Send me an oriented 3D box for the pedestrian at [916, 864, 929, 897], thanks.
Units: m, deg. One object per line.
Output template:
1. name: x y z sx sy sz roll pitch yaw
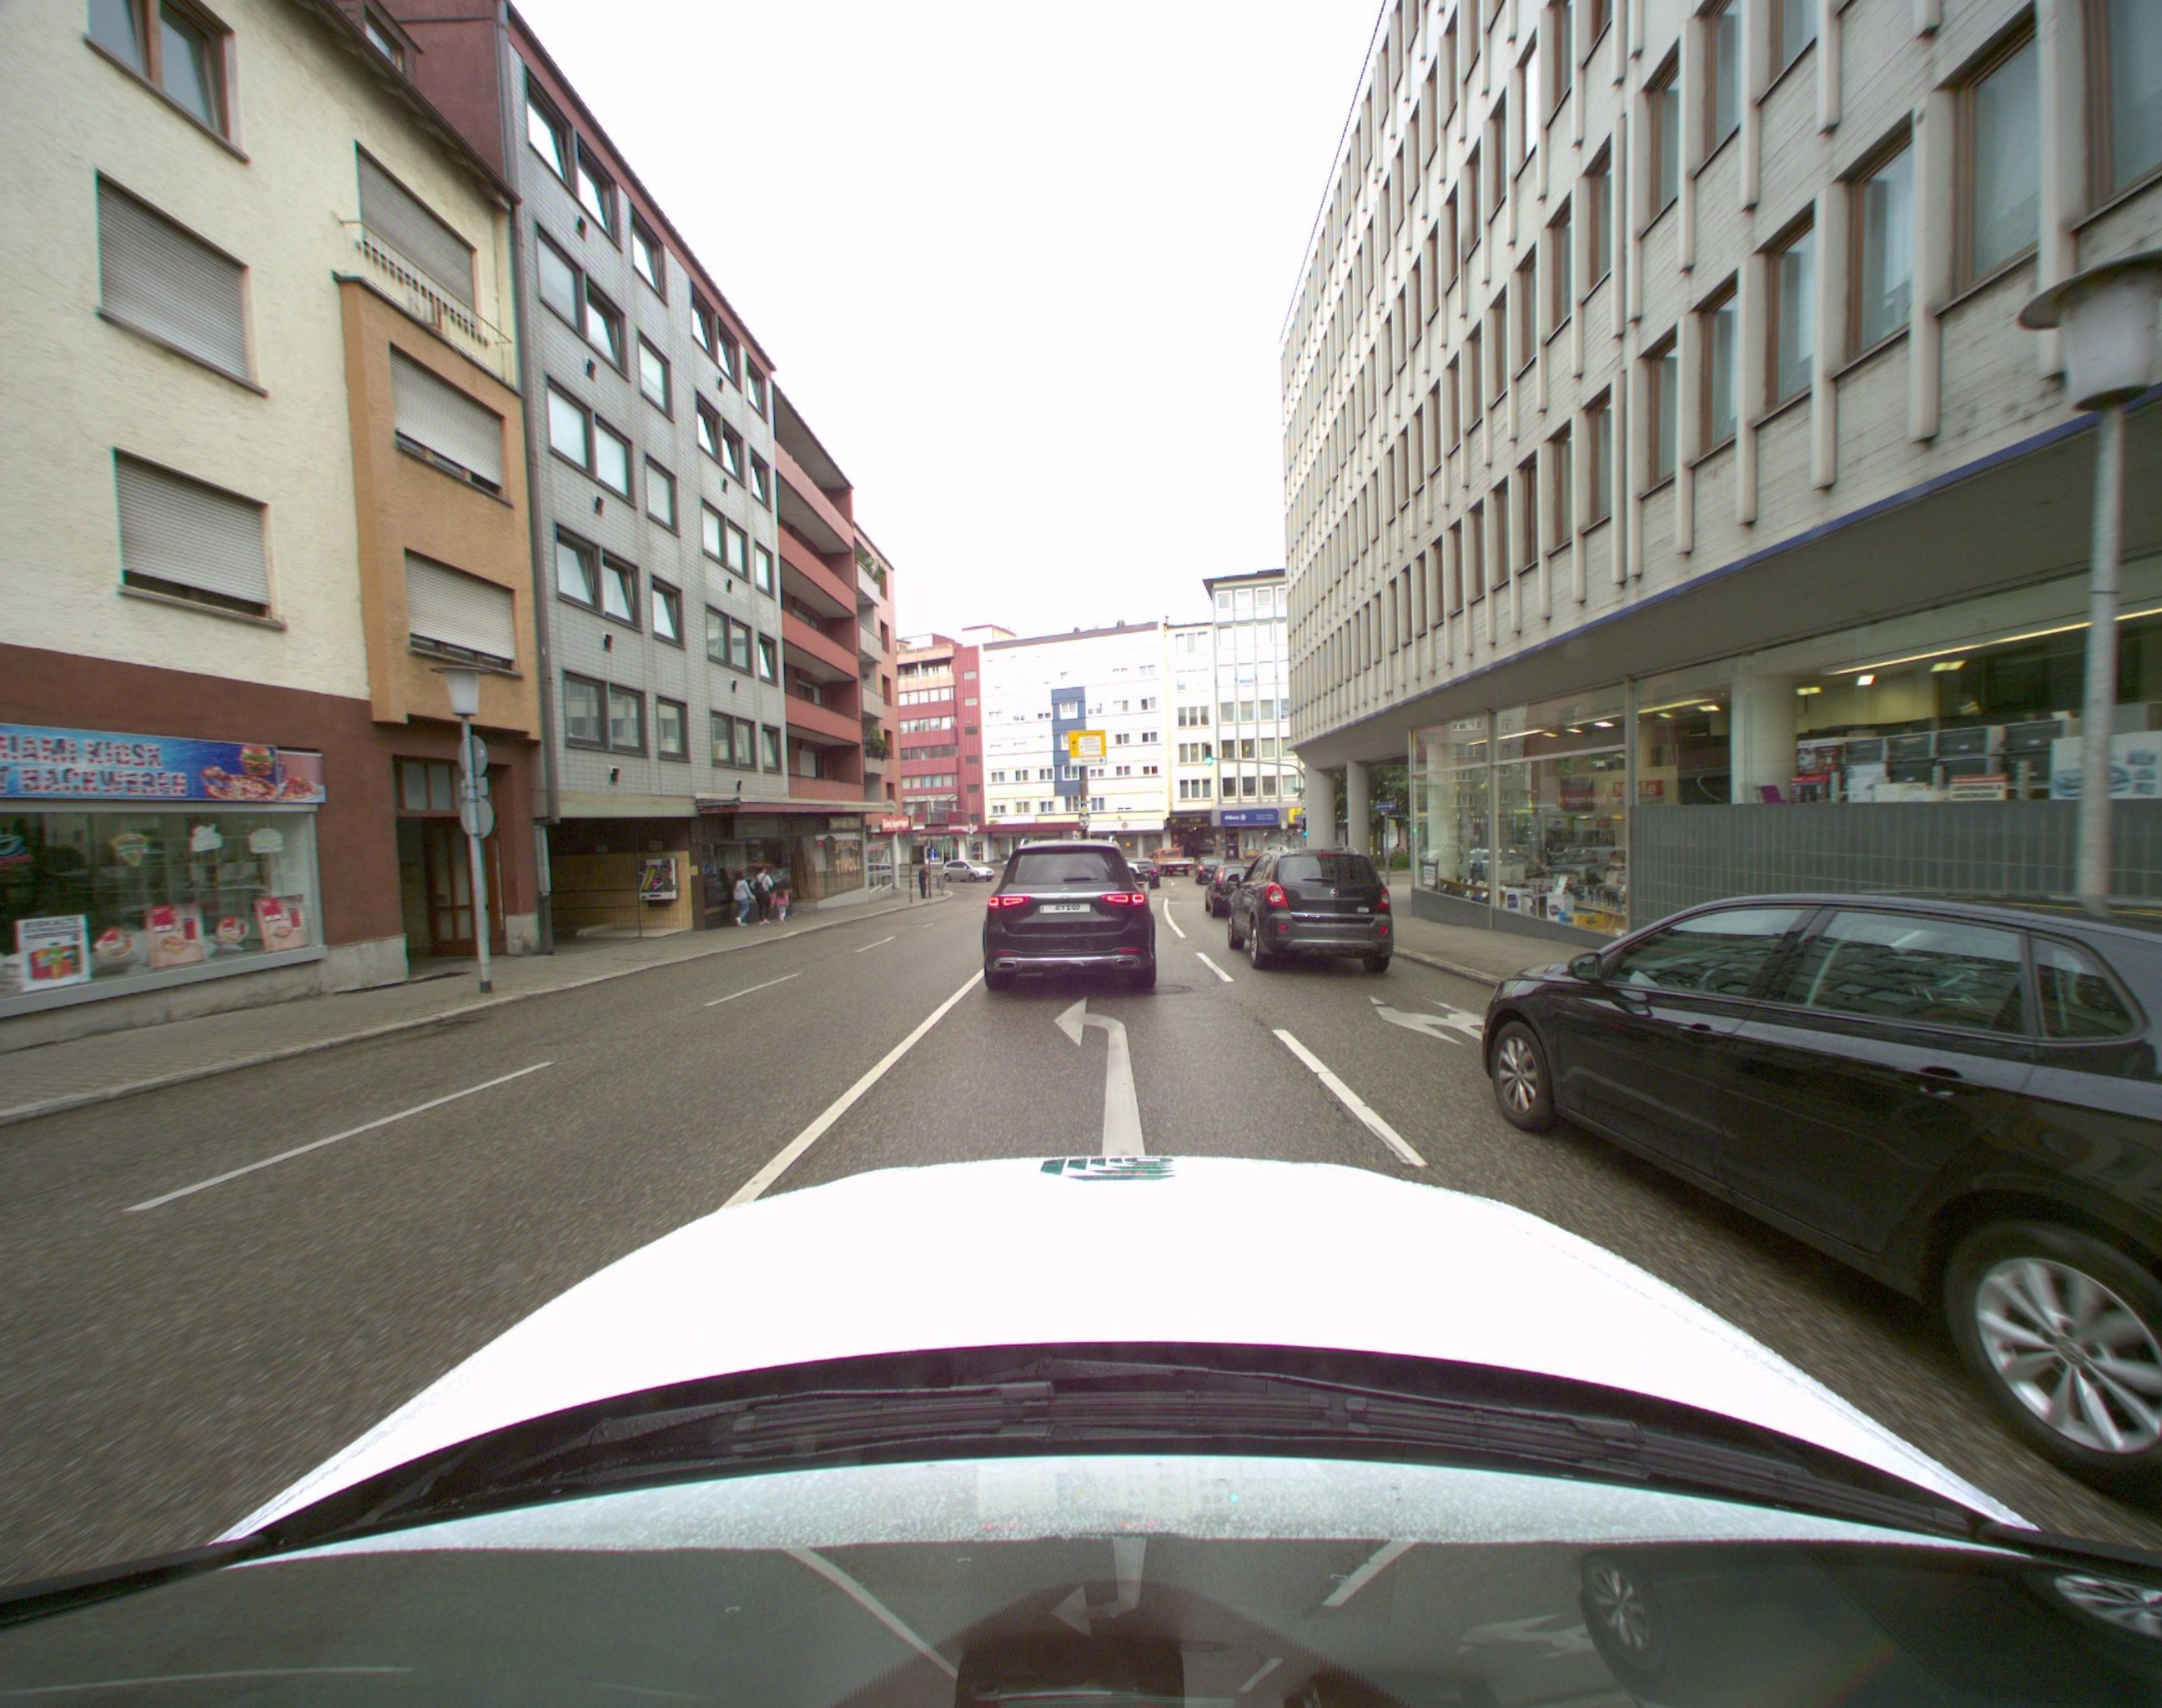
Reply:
1. pedestrian: -8.137 1.362 41.821 0.552 1.697 0.623 -2 0 -2

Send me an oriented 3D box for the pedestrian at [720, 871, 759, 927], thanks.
1. pedestrian: -9.690 1.260 23.106 0.826 1.561 0.722 1 -1 -7

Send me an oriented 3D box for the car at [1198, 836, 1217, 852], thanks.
1. car: 13.436 -1.053 86.465 1.785 1.670 4.012 -2 0 11

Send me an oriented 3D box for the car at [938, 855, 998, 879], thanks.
1. car: -8.261 0.929 59.389 4.121 1.592 1.752 -2 0 32

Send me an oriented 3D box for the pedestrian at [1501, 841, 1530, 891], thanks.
1. pedestrian: 15.020 0.409 28.193 0.715 1.689 0.834 -4 -1 23

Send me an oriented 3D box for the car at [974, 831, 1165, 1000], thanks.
1. car: -0.094 0.665 11.070 2.032 1.799 4.663 0 0 1

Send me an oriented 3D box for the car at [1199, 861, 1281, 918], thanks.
1. car: 4.373 0.930 22.942 1.759 1.397 4.004 2 0 4

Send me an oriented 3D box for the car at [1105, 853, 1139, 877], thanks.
1. car: 2.824 0.798 56.715 1.920 1.515 4.657 1 -2 -3

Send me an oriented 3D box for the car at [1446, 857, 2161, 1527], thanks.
1. car: 3.263 0.772 3.422 1.683 1.477 4.000 1 0 1

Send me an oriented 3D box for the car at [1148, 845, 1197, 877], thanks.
1. car: 6.646 0.522 59.996 2.242 2.228 5.412 0 -1 -9

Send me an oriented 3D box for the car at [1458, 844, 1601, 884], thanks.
1. car: 18.297 0.424 33.377 4.790 1.494 1.868 -2 0 43

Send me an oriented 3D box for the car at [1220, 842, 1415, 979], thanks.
1. car: 3.375 0.720 12.566 1.890 1.695 4.509 1 0 3

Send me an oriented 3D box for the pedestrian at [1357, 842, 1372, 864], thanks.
1. pedestrian: 24.053 -0.097 69.077 0.890 1.827 0.676 3 -2 -15

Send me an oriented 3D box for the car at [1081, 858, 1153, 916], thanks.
1. car: 1.119 0.889 23.519 1.865 1.495 4.405 0 0 4

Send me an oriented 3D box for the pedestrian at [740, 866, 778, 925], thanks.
1. pedestrian: -9.427 1.208 23.864 0.826 1.689 0.722 1 -1 -7

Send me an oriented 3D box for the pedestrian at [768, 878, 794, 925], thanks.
1. pedestrian: -8.774 1.387 23.851 0.533 1.323 0.722 1 -1 -7

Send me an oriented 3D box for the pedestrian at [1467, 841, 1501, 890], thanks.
1. pedestrian: 15.256 0.436 30.834 0.720 1.818 0.828 -3 -1 -4

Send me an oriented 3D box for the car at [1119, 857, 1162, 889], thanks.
1. car: 3.001 0.921 41.600 1.986 1.486 4.239 -2 0 2

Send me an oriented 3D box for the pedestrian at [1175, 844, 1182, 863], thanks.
1. pedestrian: 8.988 -0.050 74.916 0.560 1.688 0.758 -2 6 8

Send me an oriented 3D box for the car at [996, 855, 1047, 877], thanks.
1. car: -5.194 1.043 70.892 4.122 1.838 2.012 1 -1 40

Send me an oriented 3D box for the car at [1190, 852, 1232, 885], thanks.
1. car: 6.946 0.776 43.932 1.815 1.658 4.500 0 -1 4
